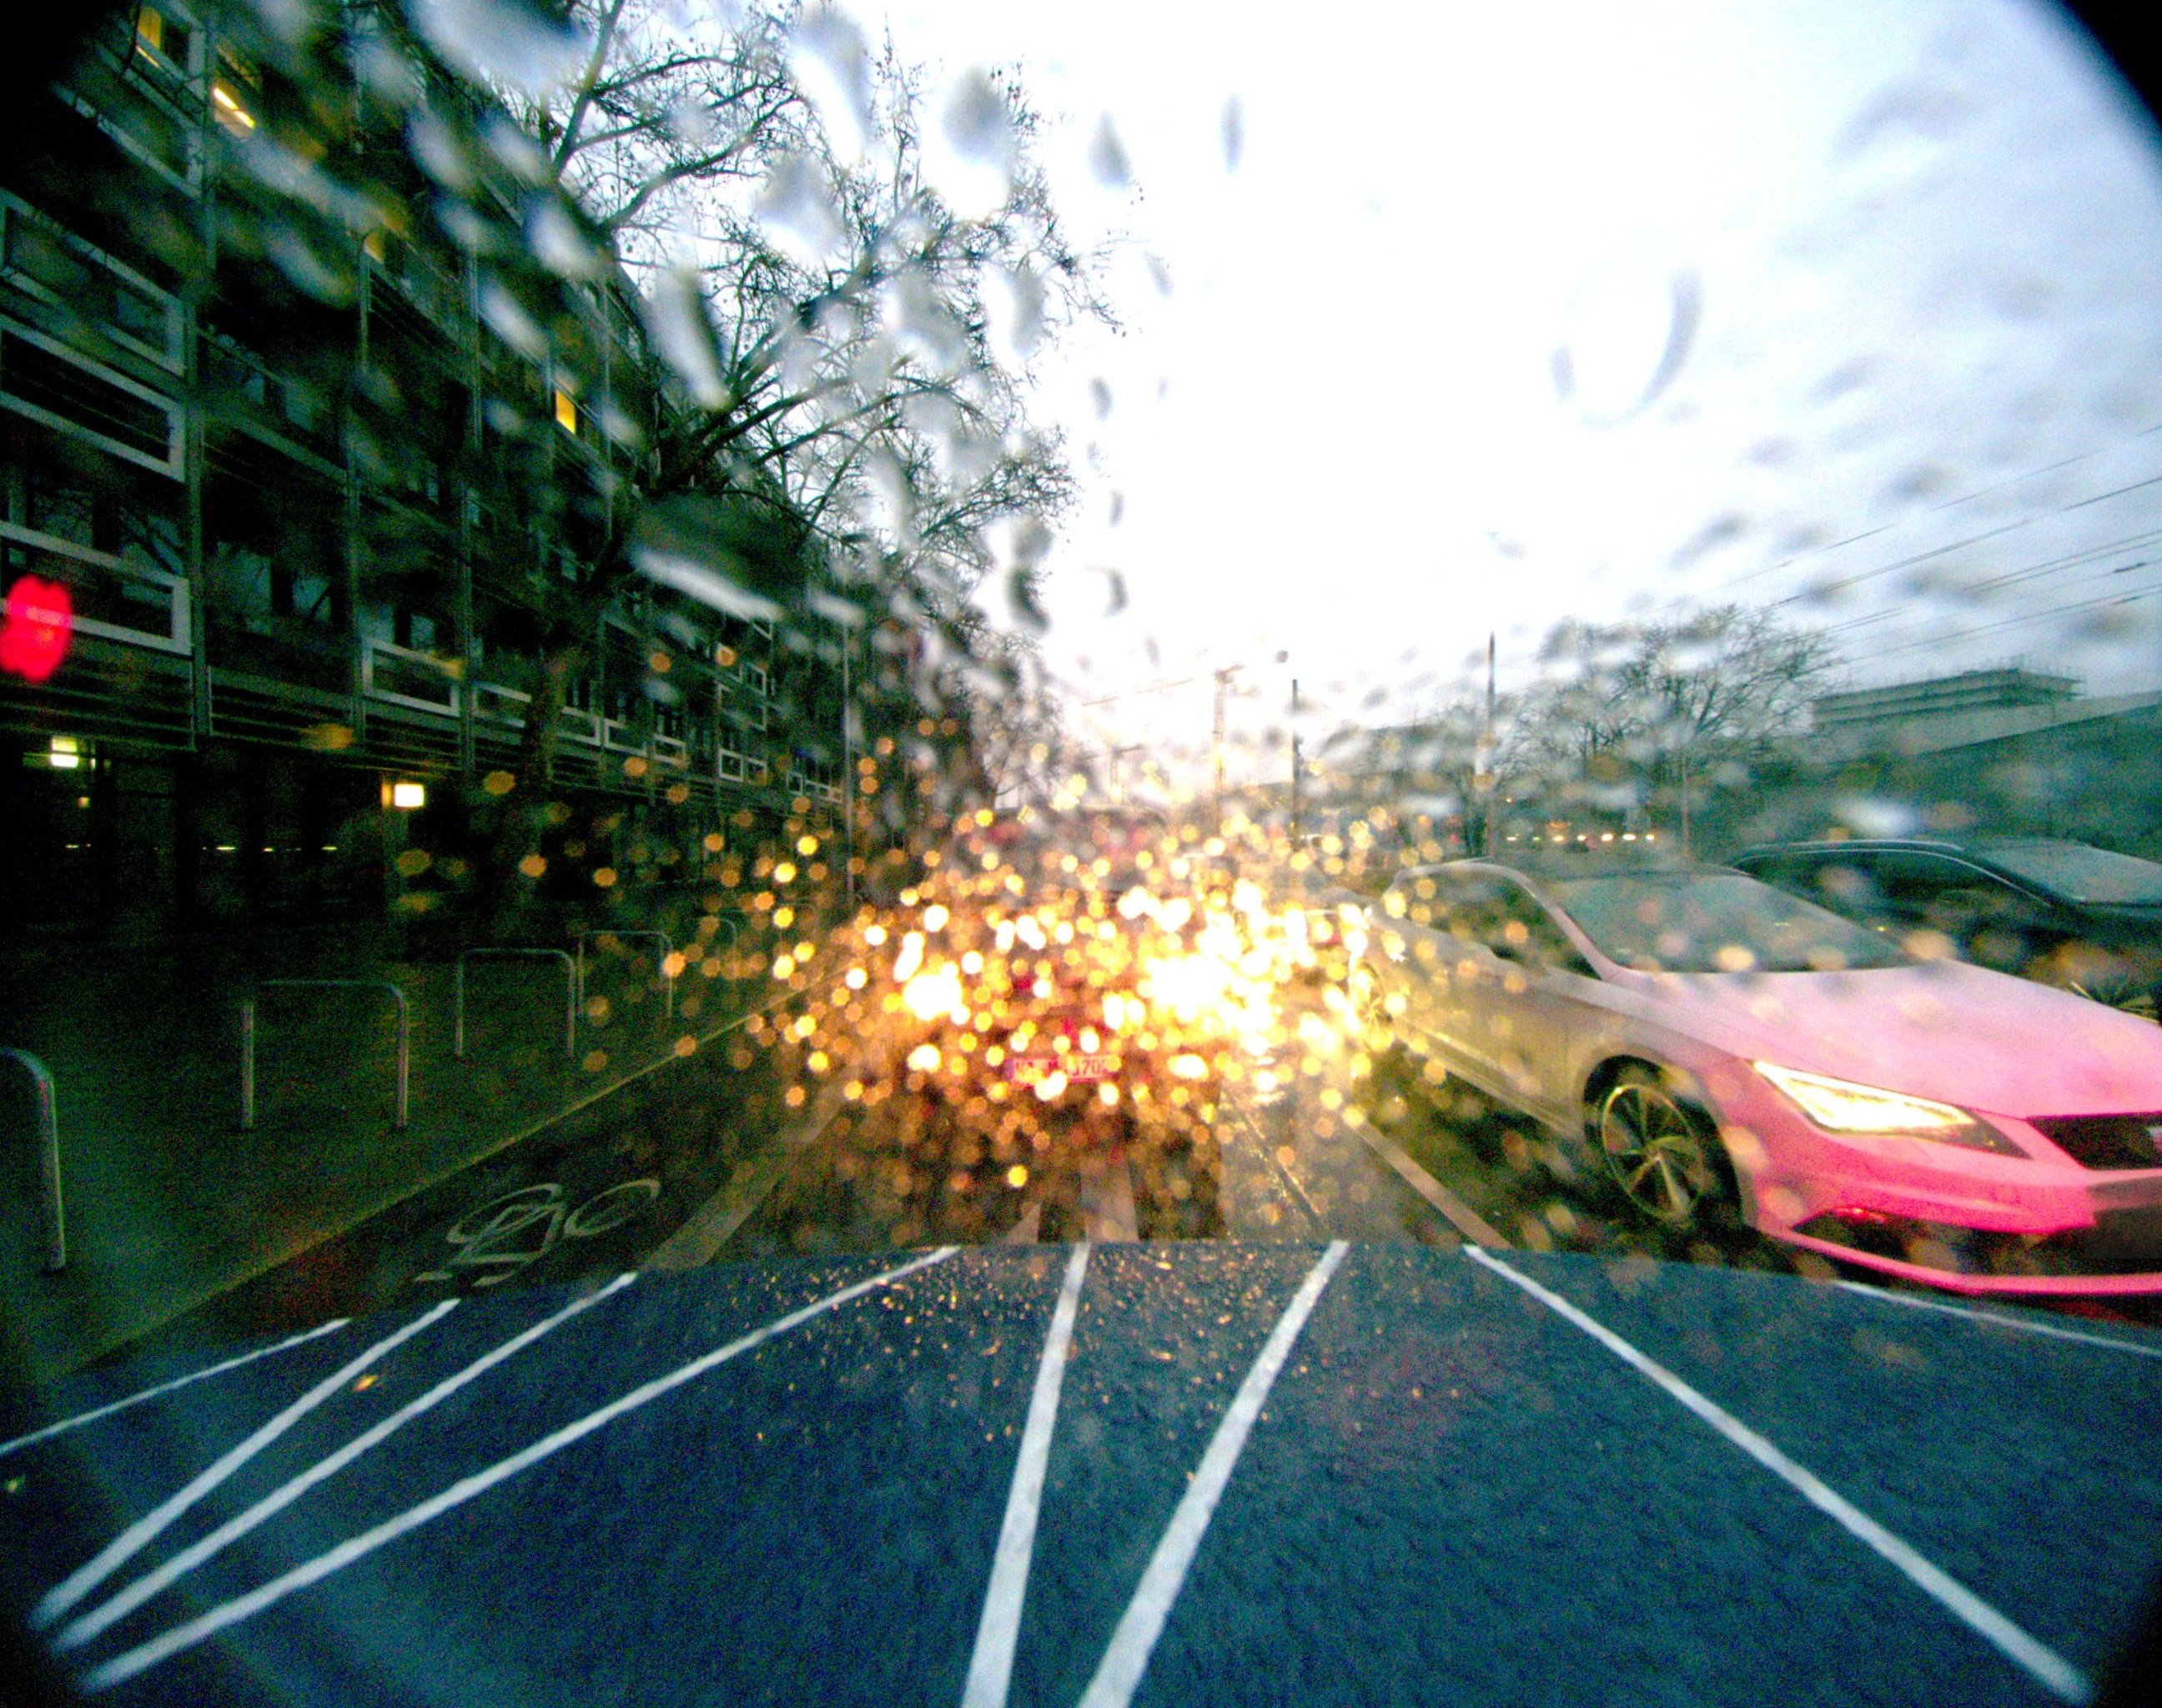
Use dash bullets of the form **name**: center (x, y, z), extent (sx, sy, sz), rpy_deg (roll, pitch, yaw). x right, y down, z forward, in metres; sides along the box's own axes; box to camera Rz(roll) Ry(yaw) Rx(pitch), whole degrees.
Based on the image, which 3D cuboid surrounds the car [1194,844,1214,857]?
- **car**: center (19.218, -0.534, 118.627), extent (2.095, 1.884, 3.997), rpy_deg (-1, 1, -7)

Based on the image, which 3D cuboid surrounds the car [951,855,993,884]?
- **car**: center (-6.180, 0.836, 43.323), extent (1.713, 1.455, 3.999), rpy_deg (-2, 1, 1)

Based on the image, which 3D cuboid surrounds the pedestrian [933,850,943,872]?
- **pedestrian**: center (-12.727, 0.608, 67.693), extent (0.699, 1.968, 0.928), rpy_deg (0, 1, 1)

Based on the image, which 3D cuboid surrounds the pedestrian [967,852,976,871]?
- **pedestrian**: center (-10.128, 0.702, 70.477), extent (0.766, 1.740, 0.928), rpy_deg (0, 1, -4)

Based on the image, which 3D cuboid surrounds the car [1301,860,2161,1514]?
- **car**: center (2.983, 0.836, 4.171), extent (1.949, 1.478, 4.504), rpy_deg (-2, 0, -4)

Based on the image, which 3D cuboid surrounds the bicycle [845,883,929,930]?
- **bicycle**: center (-4.472, 1.205, 17.631), extent (1.704, 0.987, 0.879), rpy_deg (1, 1, 0)

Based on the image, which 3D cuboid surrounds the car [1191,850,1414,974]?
- **car**: center (3.037, 0.697, 11.548), extent (1.999, 1.478, 4.505), rpy_deg (-1, 0, -1)

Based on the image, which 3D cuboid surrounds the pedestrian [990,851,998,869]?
- **pedestrian**: center (-8.766, 0.582, 76.545), extent (0.766, 1.740, 0.928), rpy_deg (0, 1, -4)

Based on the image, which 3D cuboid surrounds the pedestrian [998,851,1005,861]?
- **pedestrian**: center (-10.135, 0.259, 96.644), extent (0.782, 1.330, 0.751), rpy_deg (-2, 1, 1)

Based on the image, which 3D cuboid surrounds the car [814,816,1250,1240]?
- **car**: center (-0.215, 0.757, 5.394), extent (1.878, 1.830, 3.999), rpy_deg (-2, 1, 0)

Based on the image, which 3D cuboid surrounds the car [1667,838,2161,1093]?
- **car**: center (7.374, 0.647, 5.987), extent (1.853, 1.499, 4.662), rpy_deg (-1, 1, -1)

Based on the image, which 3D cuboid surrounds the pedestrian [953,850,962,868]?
- **pedestrian**: center (-12.090, 0.473, 74.451), extent (0.766, 1.740, 0.928), rpy_deg (0, 1, -4)

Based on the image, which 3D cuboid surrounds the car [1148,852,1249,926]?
- **car**: center (2.829, 0.792, 19.103), extent (1.907, 1.565, 3.999), rpy_deg (-2, 1, 1)
